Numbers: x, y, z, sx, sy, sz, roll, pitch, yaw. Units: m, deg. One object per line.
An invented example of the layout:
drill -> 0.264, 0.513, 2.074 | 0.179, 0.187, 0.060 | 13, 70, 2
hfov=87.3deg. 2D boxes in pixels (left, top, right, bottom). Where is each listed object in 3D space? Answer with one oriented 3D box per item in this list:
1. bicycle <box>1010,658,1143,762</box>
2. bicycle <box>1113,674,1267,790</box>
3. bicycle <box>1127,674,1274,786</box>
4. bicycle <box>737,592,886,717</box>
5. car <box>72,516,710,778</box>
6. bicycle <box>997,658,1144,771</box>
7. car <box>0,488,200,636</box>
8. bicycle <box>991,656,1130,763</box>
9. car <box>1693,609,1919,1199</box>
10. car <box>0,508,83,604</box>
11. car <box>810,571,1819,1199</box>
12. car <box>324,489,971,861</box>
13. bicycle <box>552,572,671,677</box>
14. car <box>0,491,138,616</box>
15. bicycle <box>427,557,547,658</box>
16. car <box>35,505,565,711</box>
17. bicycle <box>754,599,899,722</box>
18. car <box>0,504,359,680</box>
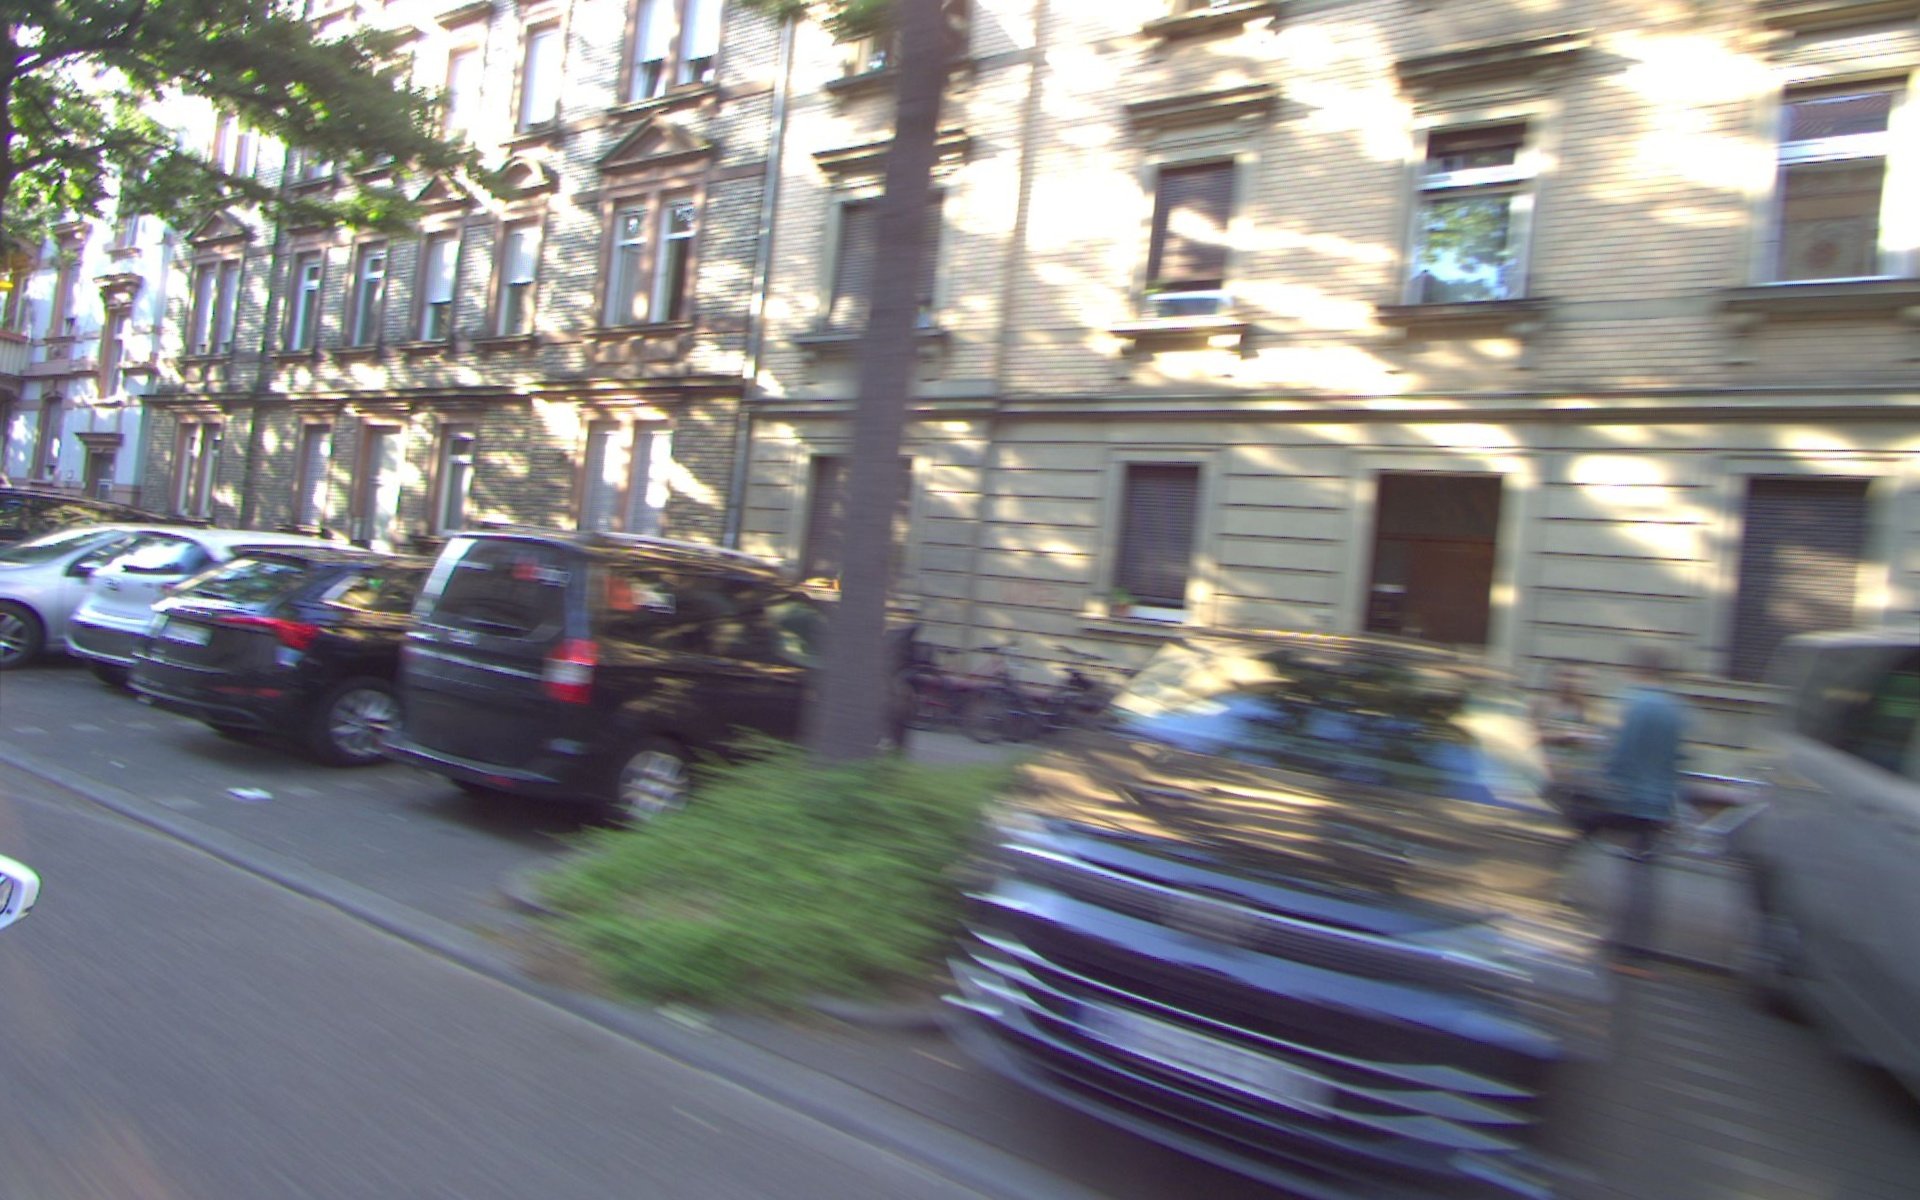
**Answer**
bicycle -> 1.328, 1.253, 11.601 | 1.431, 0.978, 0.283 | 6, -1, 30
bicycle -> 2.402, 1.359, 10.574 | 1.431, 0.978, 0.396 | 6, -1, 30
bicycle -> 2.588, 1.381, 10.887 | 1.431, 0.978, 0.283 | 6, -1, 30
bicycle -> -1.878, 0.665, 12.594 | 1.851, 1.334, 0.368 | 6, -1, 28
car -> -4.285, 0.369, 8.340 | 1.903, 1.473, 4.152 | 6, 0, 28
bicycle -> 1.179, 1.211, 10.829 | 1.431, 0.978, 0.396 | 6, -1, 30
car -> -12.677, -0.604, 12.669 | 1.860, 1.675, 4.486 | 5, -3, 30
bicycle -> 1.125, 1.220, 11.360 | 1.431, 0.978, 0.396 | 6, -1, 30
car -> 4.435, 1.106, 3.369 | 2.137, 1.926, 4.929 | 7, 1, 26
car -> -17.075, -0.950, 16.121 | 1.771, 1.486, 4.110 | 7, -2, 30
car -> 1.632, 0.942, 4.540 | 2.041, 1.653, 4.929 | 7, 1, 26
car -> -1.865, 0.516, 7.330 | 1.912, 1.809, 4.133 | 6, -2, 31
bicycle -> -5.173, 0.346, 14.873 | 1.851, 1.334, 0.368 | 6, -1, 28
car -> -14.995, -0.851, 14.425 | 1.859, 1.675, 4.489 | 5, -3, 28
bicycle -> -7.296, 0.112, 15.490 | 1.851, 1.334, 0.535 | 6, -1, 28
car -> -6.174, 0.205, 9.984 | 1.657, 1.512, 3.999 | 7, -2, 26
bicycle -> -1.742, 0.761, 12.991 | 1.851, 1.334, 0.368 | 6, -1, 28
car -> -8.704, -0.079, 10.275 | 1.658, 1.473, 3.996 | 6, -2, 30
